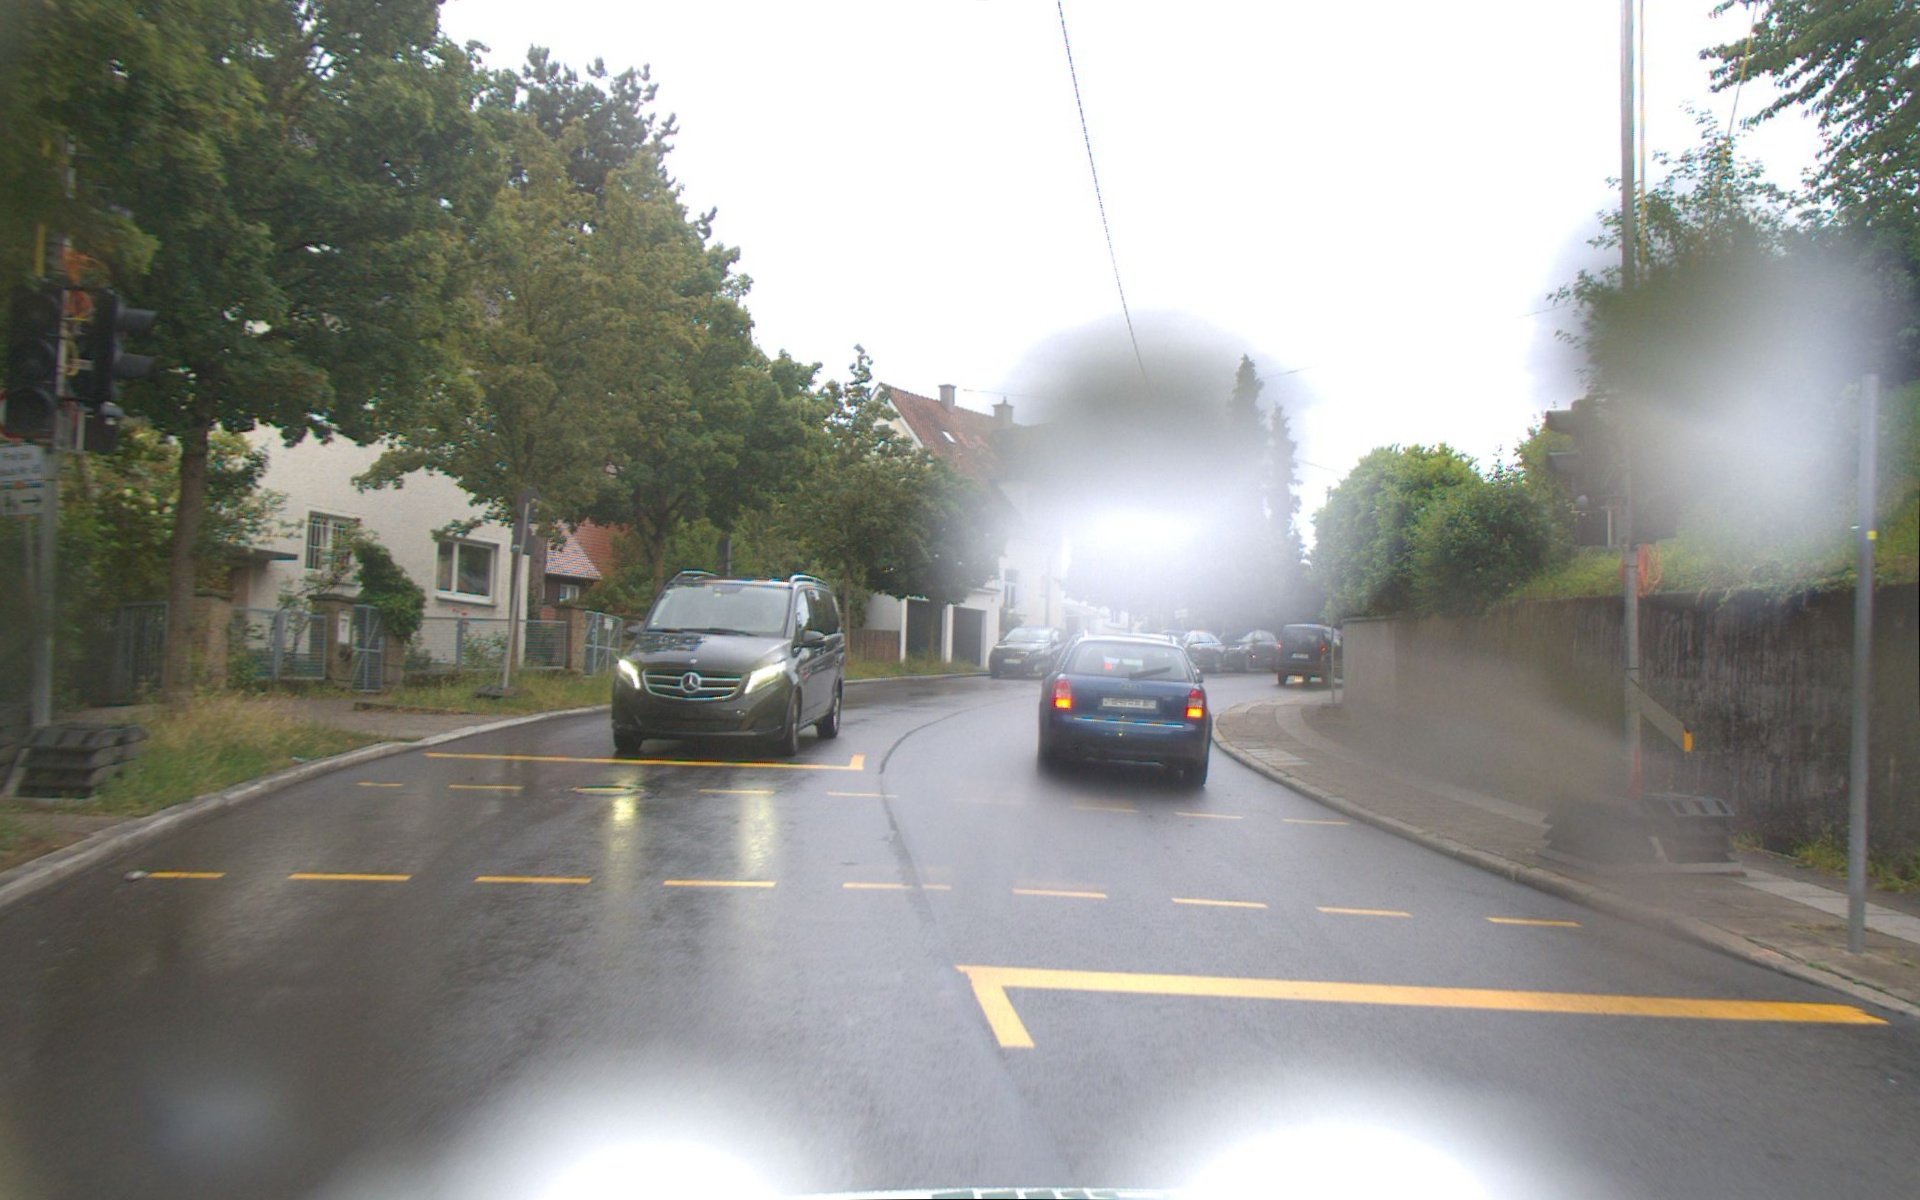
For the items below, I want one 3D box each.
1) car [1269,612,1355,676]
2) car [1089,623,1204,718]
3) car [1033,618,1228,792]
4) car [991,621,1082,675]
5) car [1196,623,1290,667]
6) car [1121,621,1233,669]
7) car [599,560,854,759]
[{"bbox_3d":[11.049,1.341,51.731,1.699,1.799,4.232,0,1,26],"label":"car"},{"bbox_3d":[3.876,1.373,33.775,1.933,1.663,4.239,0,1,12],"label":"car"},{"bbox_3d":[1.688,1.008,17.493,1.698,1.492,4.001,0,1,1],"label":"car"},{"bbox_3d":[2.246,1.380,47.835,1.635,1.492,3.896,0,-1,18],"label":"car"},{"bbox_3d":[10.666,1.701,62.150,1.706,1.572,4.190,0,-2,38],"label":"car"},{"bbox_3d":[7.679,1.588,58.153,1.835,1.572,4.886,0,-1,35],"label":"car"},{"bbox_3d":[-2.436,0.617,18.670,1.857,1.923,5.155,0,-1,3],"label":"car"}]
